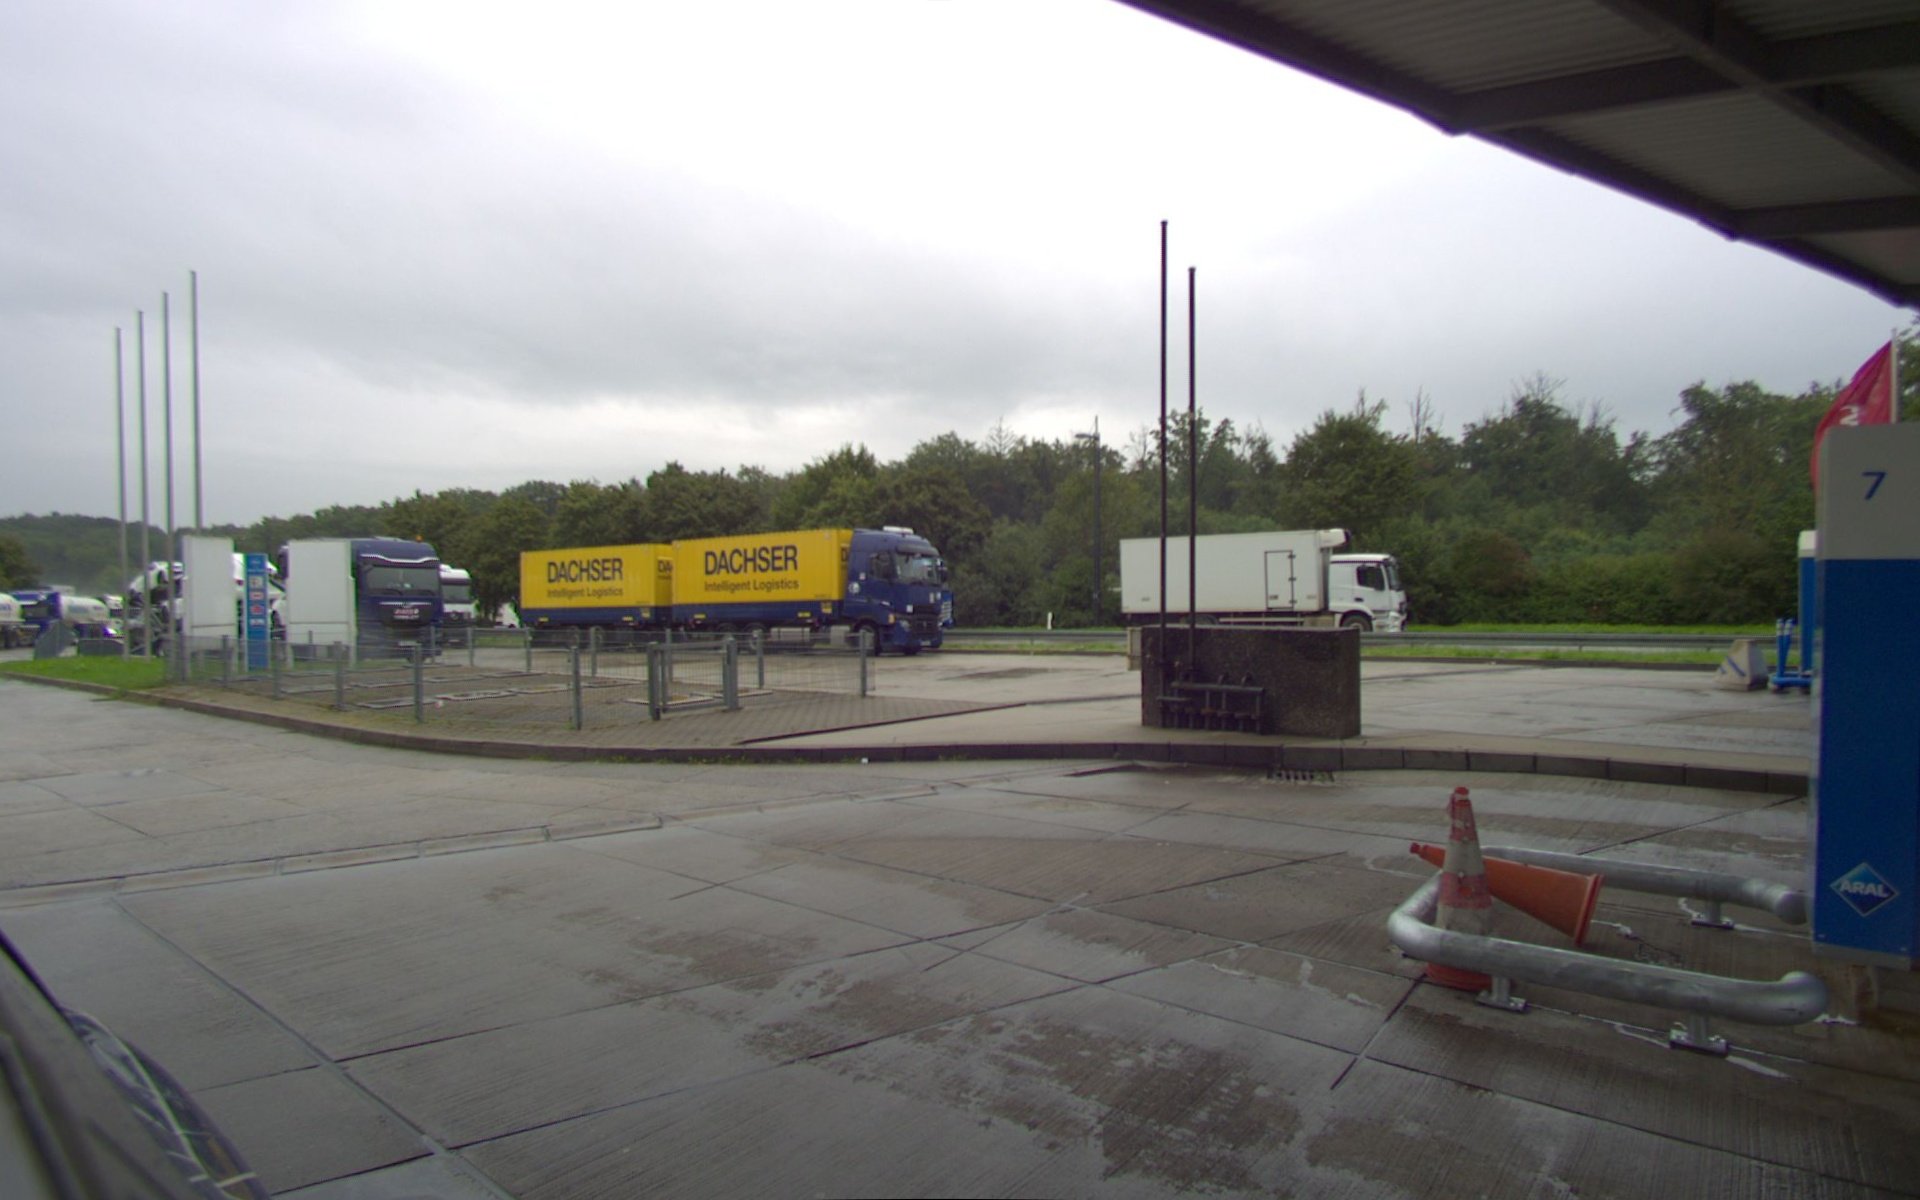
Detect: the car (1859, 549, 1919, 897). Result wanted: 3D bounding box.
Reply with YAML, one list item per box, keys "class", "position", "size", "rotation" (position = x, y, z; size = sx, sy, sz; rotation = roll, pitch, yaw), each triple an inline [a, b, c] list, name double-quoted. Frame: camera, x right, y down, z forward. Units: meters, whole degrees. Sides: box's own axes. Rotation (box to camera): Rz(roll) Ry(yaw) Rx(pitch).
- class: "car"
  position: [6.922, 0.542, 3.782]
  size: [5.269, 1.620, 1.842]
  rotation: [-1, 0, 41]

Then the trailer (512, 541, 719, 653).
- class: "trailer"
  position: [-13.485, -0.072, 39.242]
  size: [8.679, 3.946, 2.728]
  rotation: [-1, 0, 32]

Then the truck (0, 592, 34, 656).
- class: "truck"
  position: [-55.140, 1.341, 53.676]
  size: [3.454, 3.633, 14.444]
  rotation: [-1, -1, -19]

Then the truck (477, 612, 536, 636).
- class: "truck"
  position: [-42.491, 2.233, 94.830]
  size: [5.810, 2.140, 2.061]
  rotation: [-1, 0, 31]

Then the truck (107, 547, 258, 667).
- class: "truck"
  position: [-29.574, 0.301, 38.432]
  size: [6.605, 4.213, 2.635]
  rotation: [-1, 0, 35]

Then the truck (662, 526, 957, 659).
- class: "truck"
  position: [-5.323, -0.177, 34.013]
  size: [10.654, 3.946, 2.727]
  rotation: [-1, 0, 33]

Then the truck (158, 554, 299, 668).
- class: "truck"
  position: [-26.093, 0.397, 36.059]
  size: [4.738, 3.800, 2.635]
  rotation: [-1, 0, 34]

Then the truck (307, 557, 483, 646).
- class: "truck"
  position: [-27.303, 0.106, 48.614]
  size: [10.654, 3.946, 2.727]
  rotation: [-1, 0, 33]

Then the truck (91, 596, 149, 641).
- class: "truck"
  position: [-82.295, 1.808, 99.064]
  size: [11.525, 4.160, 3.101]
  rotation: [-1, 0, 44]

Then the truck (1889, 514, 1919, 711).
- class: "truck"
  position: [15.005, 0.124, 11.937]
  size: [5.859, 2.513, 2.208]
  rotation: [-1, 0, 41]

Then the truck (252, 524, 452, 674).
- class: "truck"
  position: [-18.995, 0.012, 31.462]
  size: [7.089, 4.213, 2.635]
  rotation: [-1, 0, 35]

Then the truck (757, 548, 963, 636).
- class: "truck"
  position: [-4.864, -0.311, 47.627]
  size: [10.195, 3.836, 2.395]
  rotation: [-1, 0, 31]

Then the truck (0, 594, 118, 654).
- class: "truck"
  position: [-61.478, 1.626, 68.644]
  size: [3.454, 3.633, 14.709]
  rotation: [-1, -1, -27]

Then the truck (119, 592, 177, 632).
- class: "truck"
  position: [-108.665, 1.643, 135.415]
  size: [11.498, 5.160, 3.109]
  rotation: [-1, 0, 36]

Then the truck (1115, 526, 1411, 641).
- class: "truck"
  position: [10.984, -0.516, 37.431]
  size: [10.195, 3.836, 2.395]
  rotation: [-1, 0, 31]
